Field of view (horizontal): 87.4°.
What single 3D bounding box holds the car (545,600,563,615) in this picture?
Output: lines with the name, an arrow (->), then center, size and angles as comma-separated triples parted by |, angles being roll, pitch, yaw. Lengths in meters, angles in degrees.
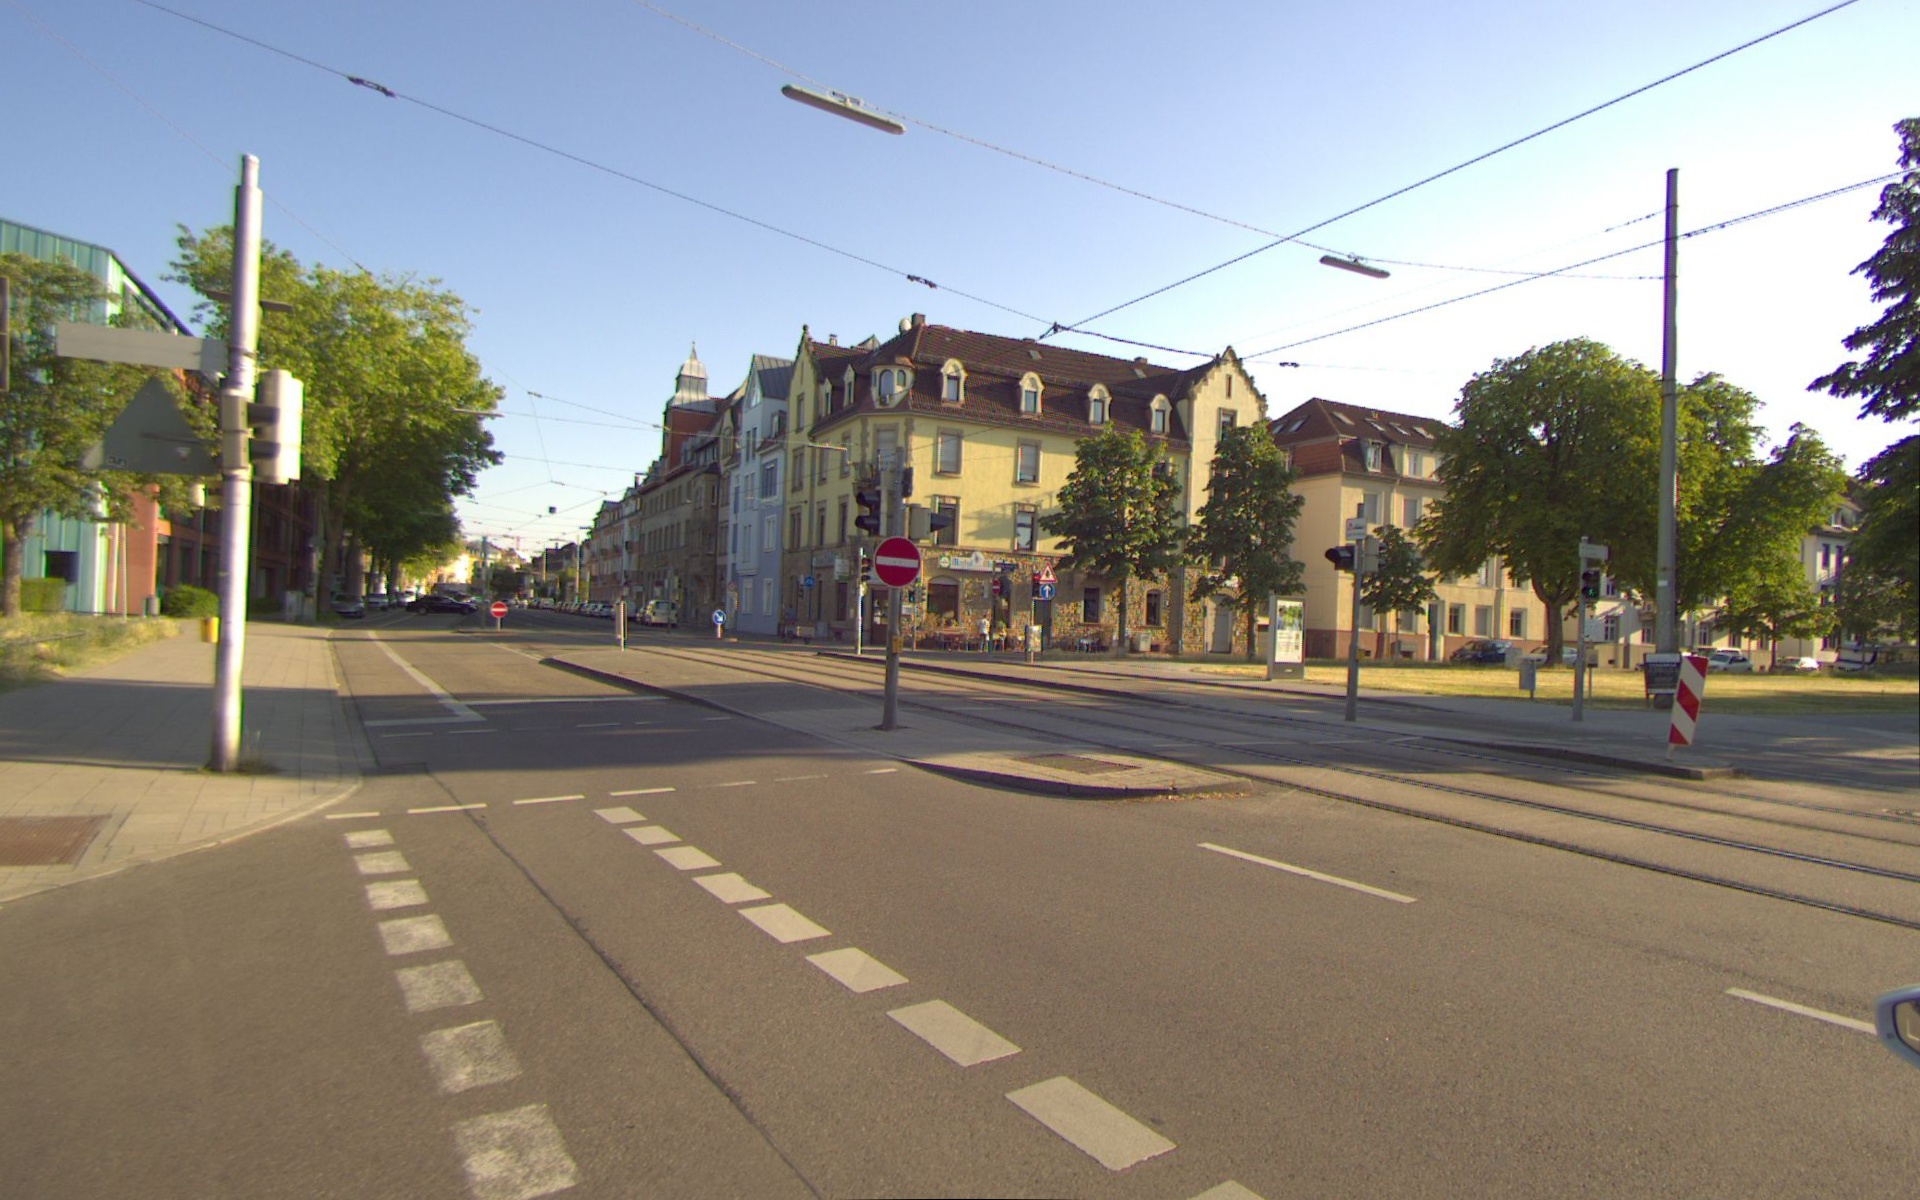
car -> -54.266, 0.966, 134.293 | 1.756, 1.693, 3.751 | 4, 1, -28

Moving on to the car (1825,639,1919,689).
car -> 66.092, 4.615, 72.521 | 7.748, 3.172, 2.384 | 3, 2, -25

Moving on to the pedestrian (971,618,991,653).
pedestrian -> 1.033, 1.750, 49.621 | 0.674, 1.646, 0.613 | 4, 1, -27

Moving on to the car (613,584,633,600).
car -> -36.418, -0.916, 108.566 | 1.530, 1.483, 3.277 | 4, 1, -28

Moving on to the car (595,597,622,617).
car -> -35.624, 0.694, 101.654 | 1.976, 1.693, 3.751 | 4, 1, -28

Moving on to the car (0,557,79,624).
car -> -29.591, -0.352, 31.233 | 1.975, 1.693, 5.186 | 4, 1, -27

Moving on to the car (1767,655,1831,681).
car -> 65.173, 5.276, 78.011 | 4.508, 1.681, 1.988 | 4, 1, -24

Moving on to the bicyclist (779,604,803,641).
bicyclist -> -8.288, 1.105, 49.336 | 0.862, 1.746, 1.143 | 4, -2, -20

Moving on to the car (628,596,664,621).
car -> -24.801, 0.648, 79.251 | 1.975, 1.763, 3.971 | 3, 0, -28

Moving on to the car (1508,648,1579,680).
car -> 38.118, 4.172, 65.583 | 3.945, 1.681, 1.988 | 4, 1, -24

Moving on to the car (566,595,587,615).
car -> -46.354, 0.591, 121.467 | 1.801, 2.040, 3.932 | 4, 1, -28

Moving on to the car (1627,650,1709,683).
car -> 43.386, 4.072, 61.575 | 4.508, 1.681, 1.988 | 4, 1, -24

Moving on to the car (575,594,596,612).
car -> -43.520, 0.361, 116.650 | 1.778, 1.855, 3.764 | 4, 1, -28

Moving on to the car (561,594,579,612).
car -> -50.793, 0.367, 130.750 | 1.753, 2.040, 3.799 | 4, 1, -28

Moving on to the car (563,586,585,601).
car -> -53.606, -0.880, 139.513 | 1.907, 1.715, 3.961 | 4, 1, -34

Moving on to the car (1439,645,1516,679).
car -> 32.574, 3.903, 63.185 | 4.252, 1.759, 1.988 | 4, 1, -24

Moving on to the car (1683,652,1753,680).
car -> 48.458, 4.223, 64.184 | 4.363, 1.575, 1.789 | 3, 2, -27

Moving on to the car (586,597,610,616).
car -> -38.428, 0.674, 106.492 | 1.812, 1.691, 3.919 | 4, 1, -28

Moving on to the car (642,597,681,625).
car -> -22.111, 0.814, 74.379 | 2.007, 1.759, 3.751 | 4, 1, -28

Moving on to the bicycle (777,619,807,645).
bicycle -> -8.245, 1.552, 49.160 | 0.862, 1.176, 3.069 | 4, -2, -20

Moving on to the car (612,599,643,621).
car -> -30.208, 0.883, 91.209 | 1.976, 1.693, 3.751 | 4, 1, -28
